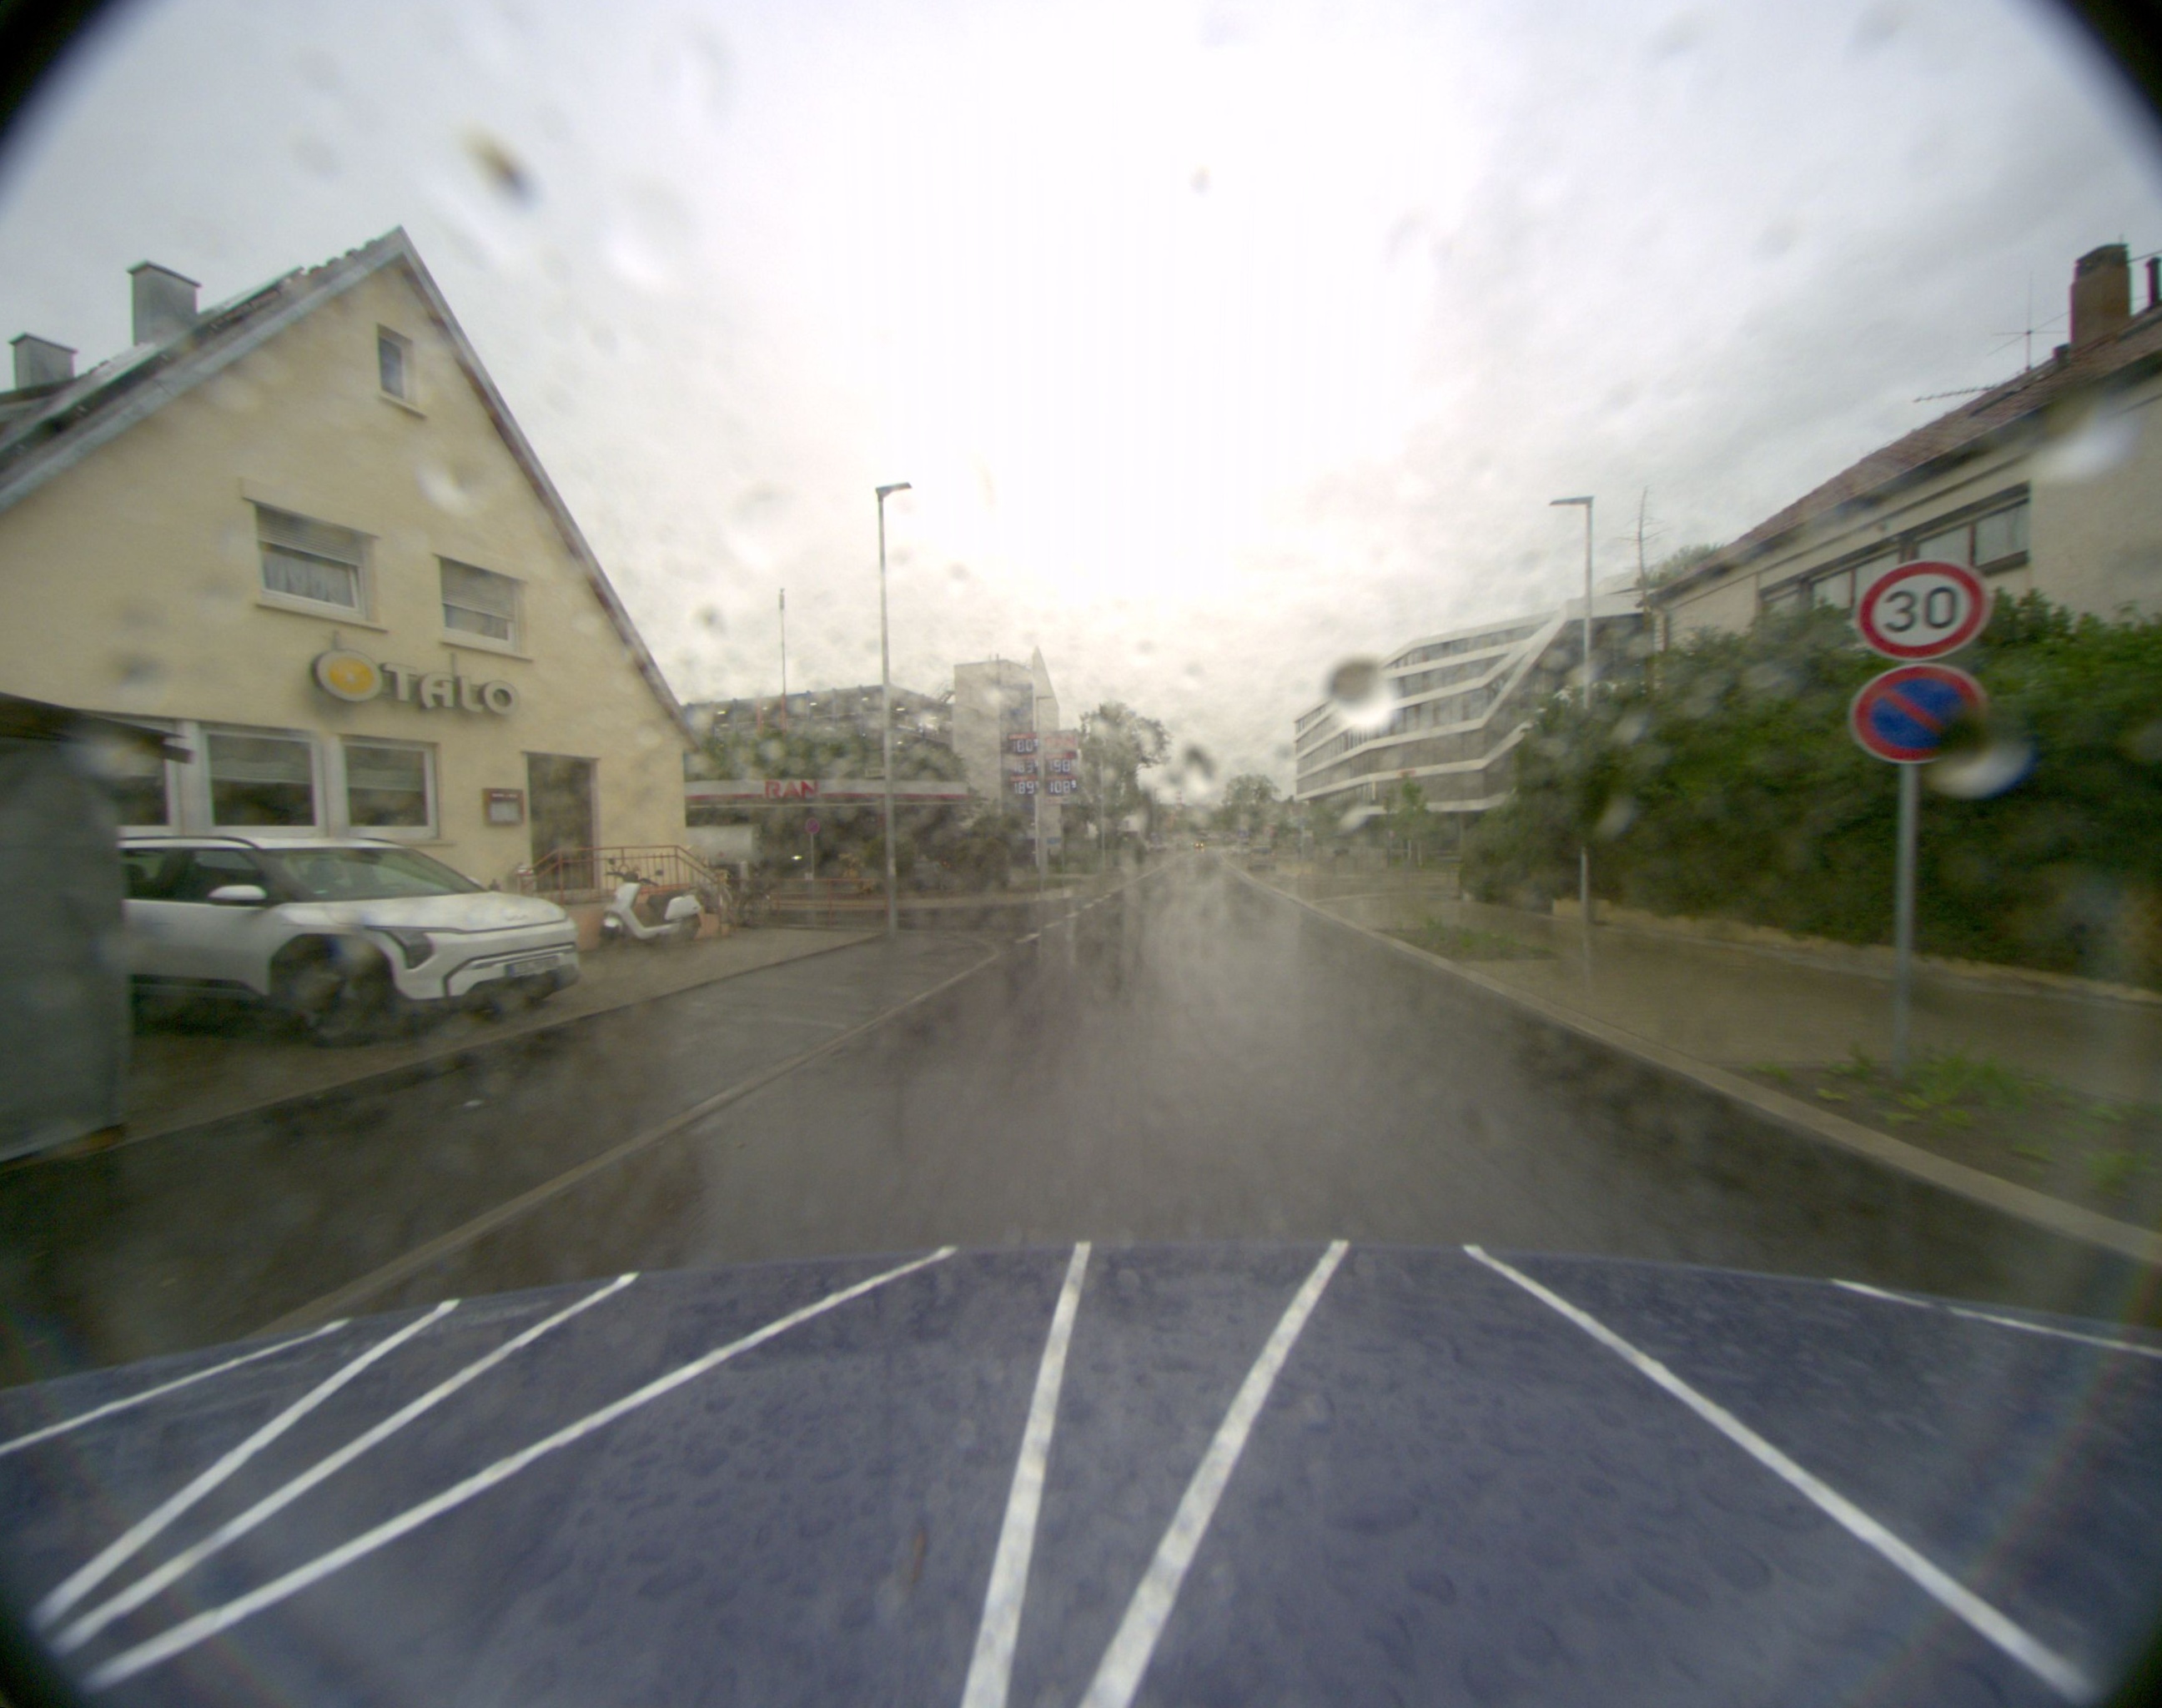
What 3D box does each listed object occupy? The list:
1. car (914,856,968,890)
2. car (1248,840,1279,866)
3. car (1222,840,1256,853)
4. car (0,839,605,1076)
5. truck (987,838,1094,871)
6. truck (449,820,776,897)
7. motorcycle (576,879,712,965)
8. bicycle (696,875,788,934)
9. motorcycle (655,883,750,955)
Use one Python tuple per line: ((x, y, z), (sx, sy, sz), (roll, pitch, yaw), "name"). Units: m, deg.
((-6.350, 0.822, 34.853), (1.693, 1.332, 4.338), (-1, 1, -1), "car")
((12.750, -0.108, 53.241), (1.840, 1.696, 4.326), (-1, 1, 10), "car")
((20.402, -1.006, 98.276), (4.163, 1.411, 2.002), (-3, 1, 13), "car")
((-6.724, 0.711, 6.509), (4.224, 1.601, 1.861), (1, 2, 7), "car")
((-2.777, 0.047, 53.538), (7.292, 2.193, 2.086), (1, -1, 3), "truck")
((-23.616, 0.202, 39.058), (14.411, 3.339, 2.646), (-2, -1, -7), "truck")
((-6.395, 0.952, 11.262), (0.488, 1.089, 2.002), (-1, 0, 12), "motorcycle")
((-6.552, 0.960, 14.671), (1.772, 1.089, 0.490), (-1, 0, 22), "bicycle")
((-7.998, 1.350, 16.049), (2.035, 1.448, 0.490), (-1, 2, 21), "motorcycle")
